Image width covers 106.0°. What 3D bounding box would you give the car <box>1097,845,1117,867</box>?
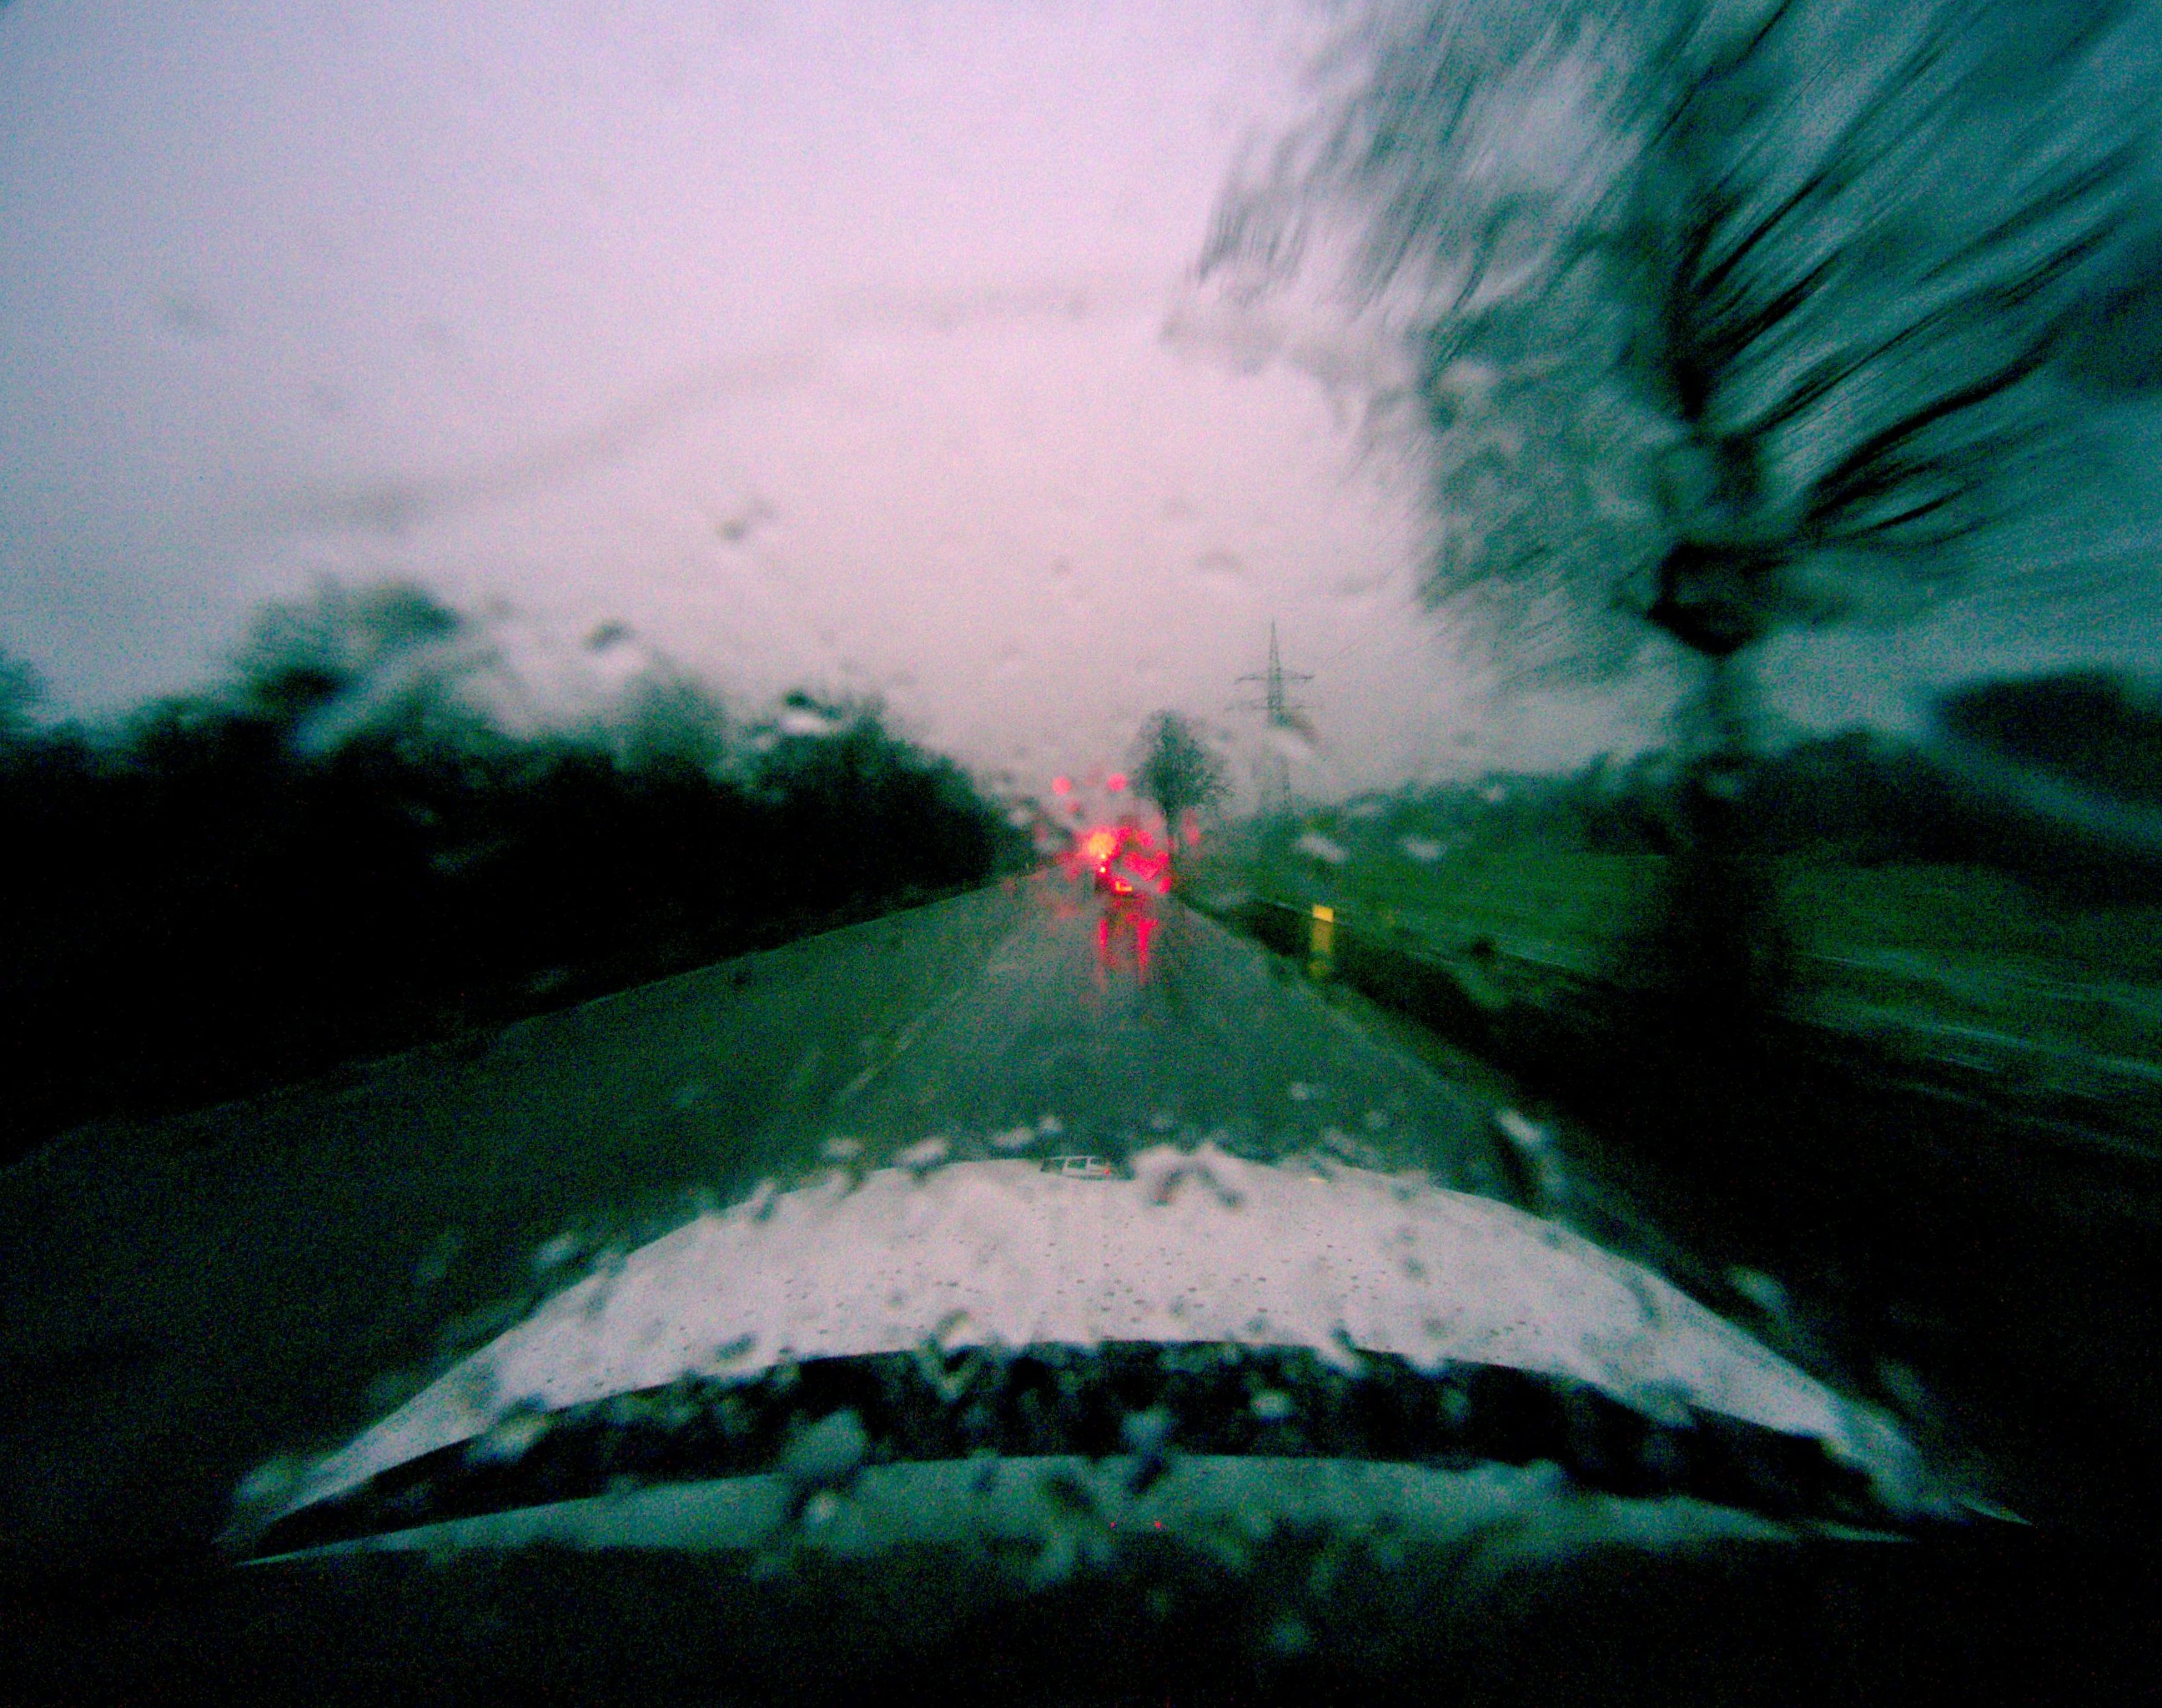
[{"bbox_3d":[2.689,0.168,83.734,1.986,2.013,4.004,2,3,2],"label":"car"}]

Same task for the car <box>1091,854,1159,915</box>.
[{"bbox_3d":[1.364,0.898,26.209,1.986,1.752,4.002,-1,0,2],"label":"car"}]
